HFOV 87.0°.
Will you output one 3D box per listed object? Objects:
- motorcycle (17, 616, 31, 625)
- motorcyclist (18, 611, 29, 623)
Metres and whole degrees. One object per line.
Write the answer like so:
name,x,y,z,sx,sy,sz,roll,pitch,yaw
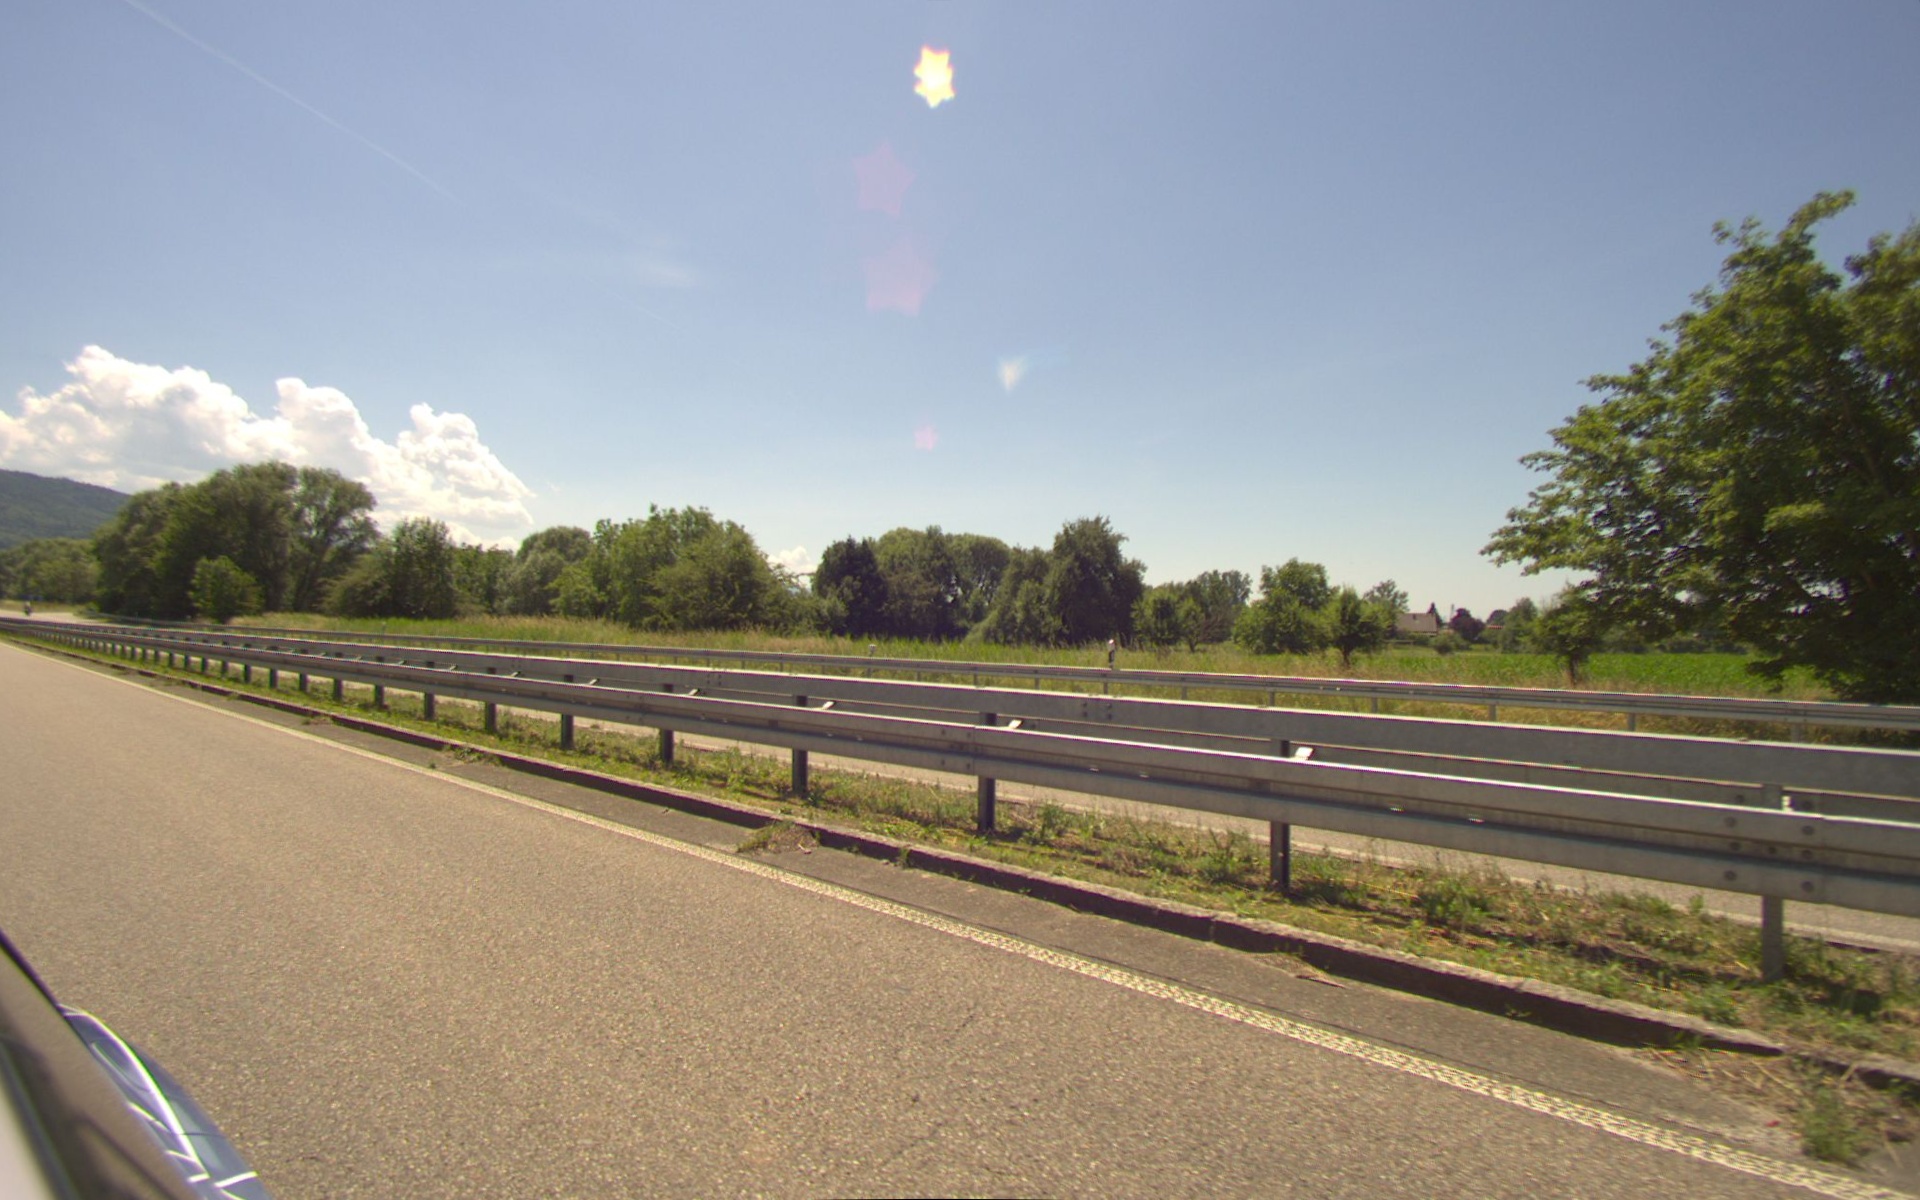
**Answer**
motorcycle,-124.614,2.729,134.726,3.818,1.072,1.052,-1,-2,43
motorcyclist,-124.645,2.247,134.738,0.809,1.629,0.935,-1,-2,42
